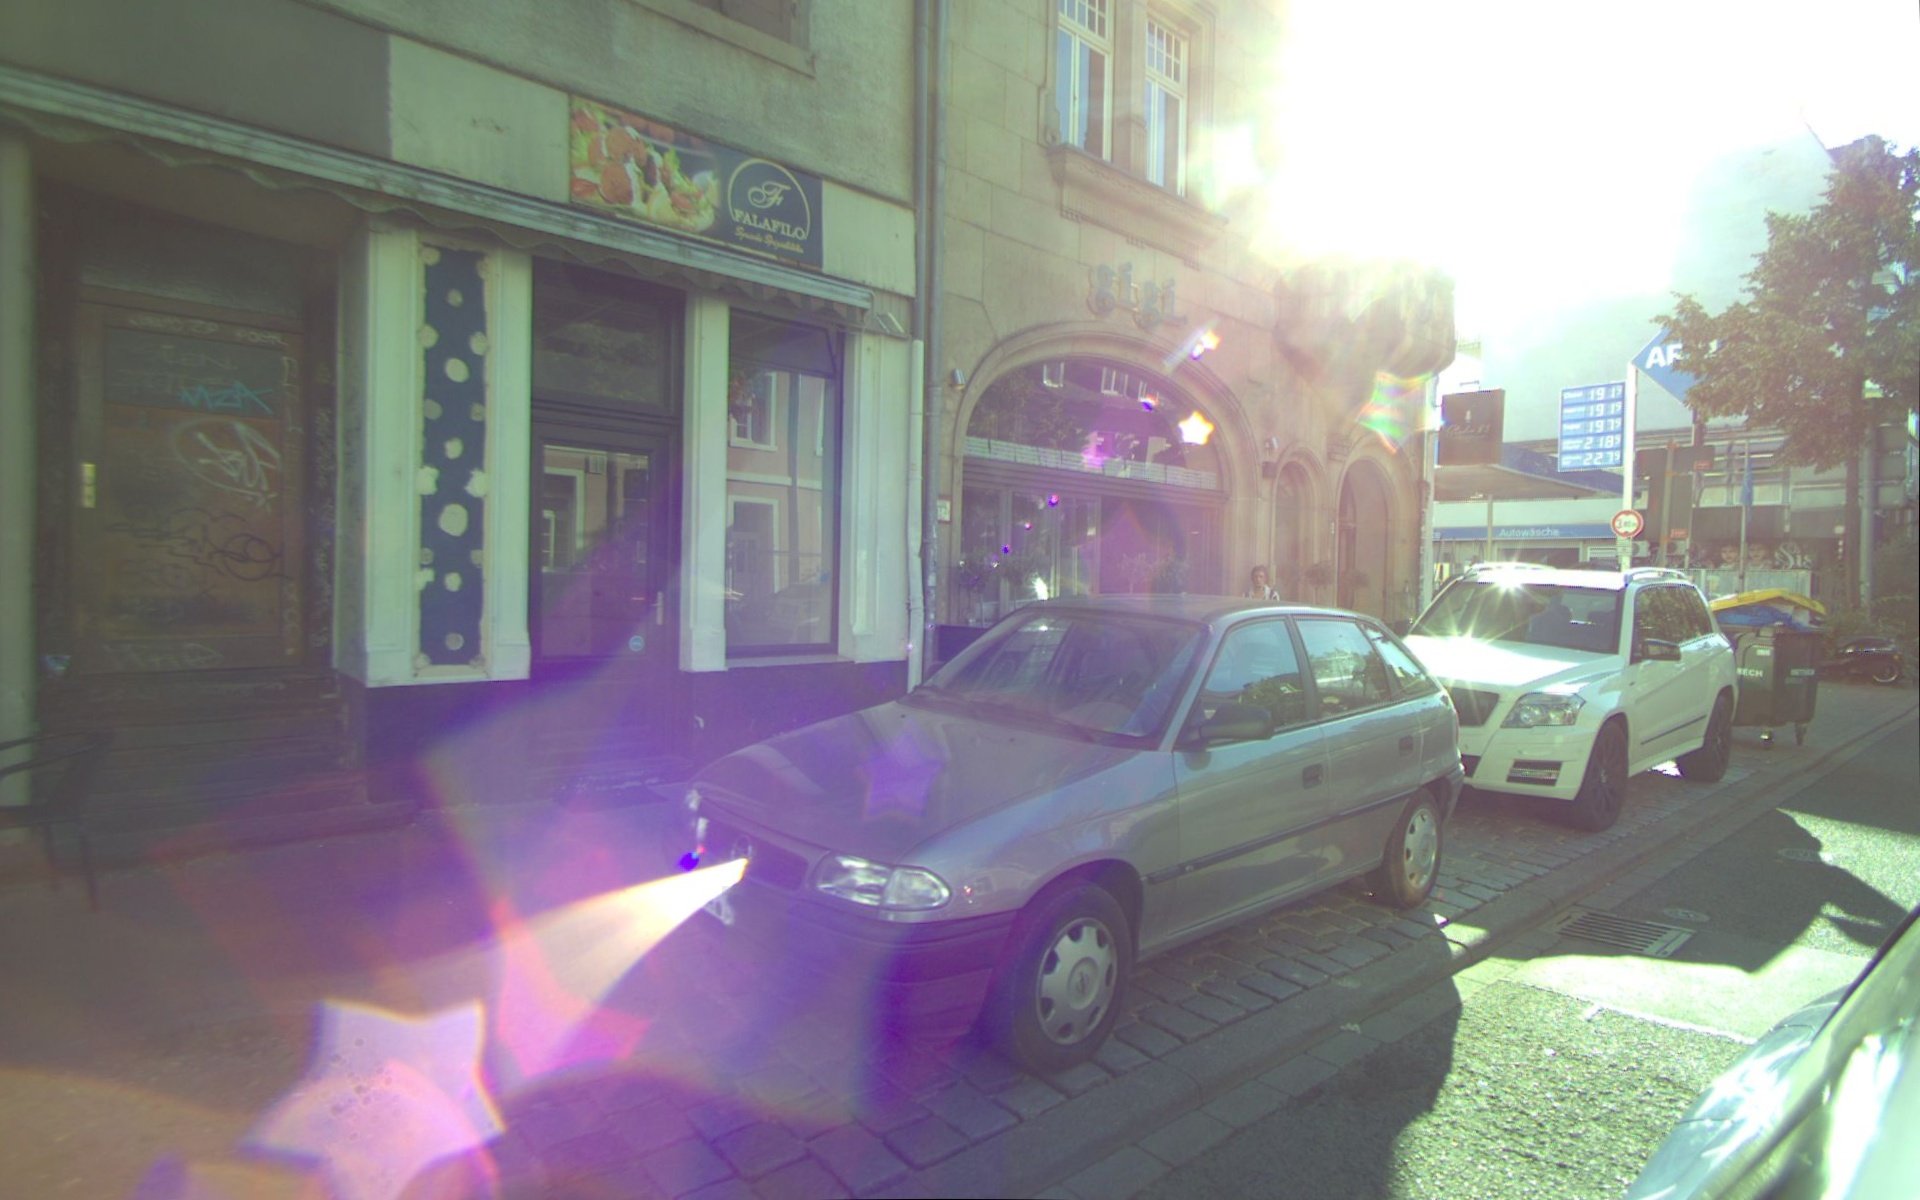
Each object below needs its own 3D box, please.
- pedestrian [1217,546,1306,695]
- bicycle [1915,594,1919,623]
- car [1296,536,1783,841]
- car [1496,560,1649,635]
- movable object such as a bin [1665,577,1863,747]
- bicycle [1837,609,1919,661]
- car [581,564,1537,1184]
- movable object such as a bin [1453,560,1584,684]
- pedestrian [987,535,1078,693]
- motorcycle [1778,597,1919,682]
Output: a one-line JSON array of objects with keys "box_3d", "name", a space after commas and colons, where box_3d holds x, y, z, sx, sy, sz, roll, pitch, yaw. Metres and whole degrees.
[{"box_3d": [3.290, 0.199, 11.042, 0.687, 1.559, 0.612, 0, 2, -41], "name": "pedestrian"}, {"box_3d": [39.457, 0.362, 40.691, 0.670, 1.163, 1.682, 1, 1, 7], "name": "bicycle"}, {"box_3d": [4.718, 0.454, 7.931, 4.519, 1.699, 1.826, 0, 4, -41], "name": "car"}, {"box_3d": [15.079, -0.090, 24.824, 4.216, 1.668, 1.905, 0, 2, -40], "name": "car"}, {"box_3d": [8.216, 0.572, 10.357, 1.431, 1.581, 1.147, 0, 2, -32], "name": "movable object such as a bin"}, {"box_3d": [18.598, 0.704, 20.330, 1.638, 1.001, 0.437, 1, 1, -6], "name": "bicycle"}, {"box_3d": [0.772, 0.620, 4.502, 4.227, 1.407, 1.826, 0, 4, -42], "name": "car"}, {"box_3d": [8.020, 0.271, 14.529, 1.472, 1.648, 1.207, 0, 2, -42], "name": "movable object such as a bin"}, {"box_3d": [0.757, 0.123, 10.634, 0.602, 1.585, 0.698, 0, 2, -41], "name": "pedestrian"}, {"box_3d": [15.463, 0.647, 17.517, 1.973, 1.346, 0.899, 2, 1, 38], "name": "motorcycle"}]
